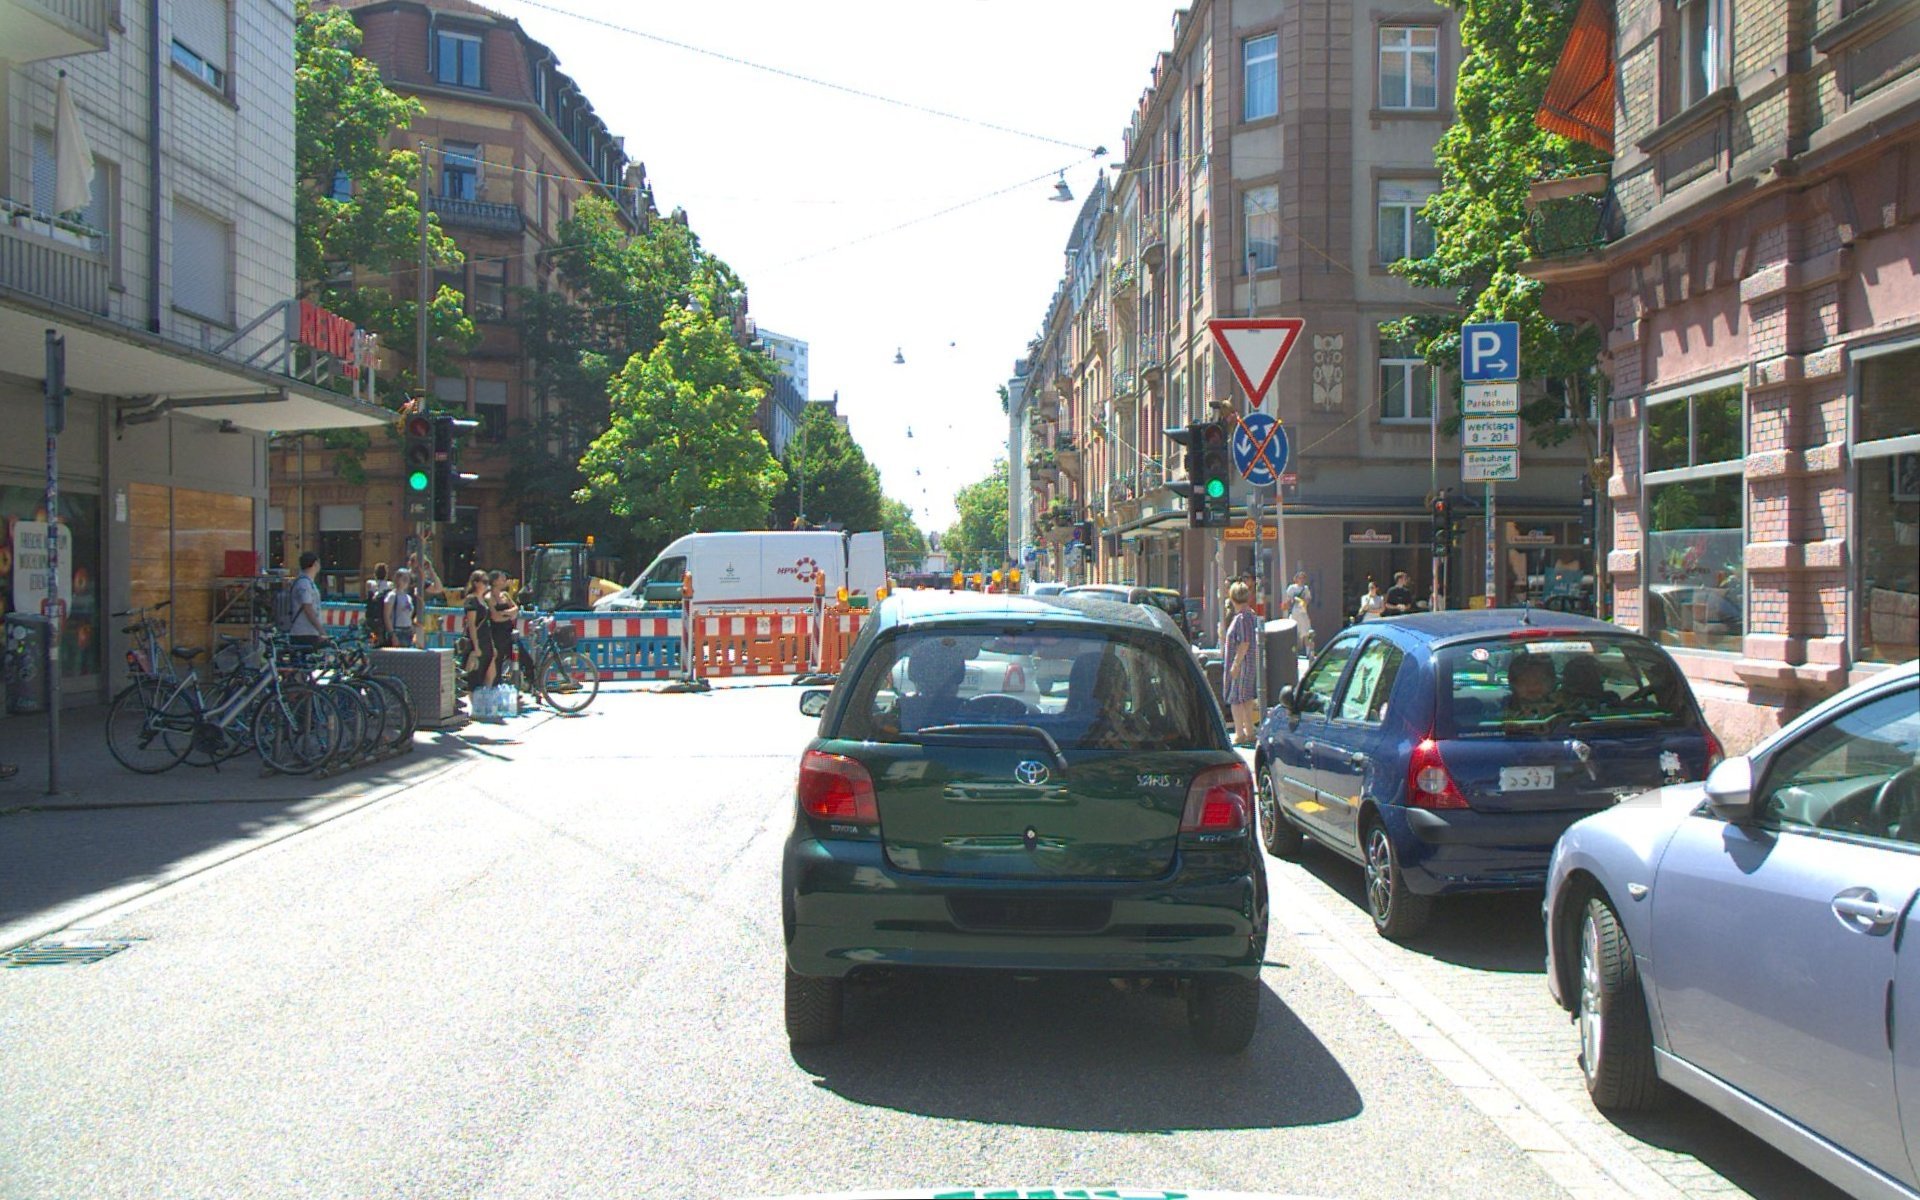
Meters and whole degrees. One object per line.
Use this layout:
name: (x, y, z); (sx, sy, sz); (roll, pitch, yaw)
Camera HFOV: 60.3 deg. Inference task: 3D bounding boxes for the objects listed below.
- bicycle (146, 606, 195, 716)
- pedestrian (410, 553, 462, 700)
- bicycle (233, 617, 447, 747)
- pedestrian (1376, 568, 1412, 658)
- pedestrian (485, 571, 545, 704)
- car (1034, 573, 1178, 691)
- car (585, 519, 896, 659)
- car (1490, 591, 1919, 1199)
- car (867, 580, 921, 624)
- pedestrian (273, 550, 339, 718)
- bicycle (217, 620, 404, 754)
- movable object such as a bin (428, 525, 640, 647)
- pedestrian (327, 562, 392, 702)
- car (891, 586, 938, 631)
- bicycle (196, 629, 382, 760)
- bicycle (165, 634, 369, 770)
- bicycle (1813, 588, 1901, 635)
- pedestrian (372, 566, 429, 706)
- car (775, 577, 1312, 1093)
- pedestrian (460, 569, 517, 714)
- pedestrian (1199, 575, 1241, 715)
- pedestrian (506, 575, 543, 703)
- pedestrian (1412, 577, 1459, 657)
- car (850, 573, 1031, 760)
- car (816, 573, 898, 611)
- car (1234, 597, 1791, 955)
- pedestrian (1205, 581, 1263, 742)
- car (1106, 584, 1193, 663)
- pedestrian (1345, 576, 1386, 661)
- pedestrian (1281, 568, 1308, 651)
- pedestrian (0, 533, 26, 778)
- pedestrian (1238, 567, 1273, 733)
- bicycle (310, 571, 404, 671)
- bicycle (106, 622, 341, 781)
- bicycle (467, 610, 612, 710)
bicycle: (-8.627, 0.646, 18.098); (0.316, 1.105, 1.425); (1, 1, -19)
pedestrian: (-6.685, 0.329, 21.113); (0.499, 1.852, 0.599); (0, 0, -3)
bicycle: (-5.838, 0.765, 15.652); (1.763, 1.142, 0.577); (2, 0, -7)
pedestrian: (8.898, 0.264, 33.903); (0.564, 1.799, 0.471); (-2, 4, -9)
pedestrian: (-5.458, 0.449, 20.309); (0.486, 1.593, 0.459); (2, 1, 25)
car: (2.222, 0.423, 24.553); (1.490, 1.620, 3.266); (0, 1, 17)
car: (-4.765, -0.245, 36.735); (6.486, 2.799, 2.380); (2, 0, 0)
car: (2.768, 0.721, 3.481); (1.691, 1.457, 4.483); (-1, 0, -3)
car: (-2.225, 0.057, 56.771); (1.719, 1.469, 3.999); (-1, 0, -1)
pedestrian: (-7.133, 0.359, 18.057); (0.499, 1.801, 0.599); (0, 0, -3)
bicycle: (-5.853, 0.783, 14.931); (1.489, 1.136, 0.335); (2, 0, -5)
movable object such as a bin: (-10.071, -0.327, 39.388); (4.450, 2.705, 1.955); (2, 0, 0)
pedestrian: (-7.973, 0.411, 21.979); (0.519, 1.828, 0.938); (0, 0, -1)
car: (-1.809, 0.315, 66.535); (1.719, 1.674, 4.377); (-3, 0, -1)
bicycle: (-5.808, 0.816, 14.353); (1.419, 1.054, 0.335); (2, 0, -5)
bicycle: (-5.735, 0.838, 13.726); (1.465, 1.048, 0.397); (2, 0, -5)
bicycle: (19.759, 0.250, 36.432); (1.690, 1.014, 0.504); (0, 2, -5)
pedestrian: (-6.768, 0.429, 20.030); (0.499, 1.661, 0.599); (0, 0, -3)
car: (0.298, 0.694, 6.574); (1.580, 1.511, 3.241); (1, 0, 2)
pedestrian: (-5.464, 0.472, 19.182); (0.530, 1.661, 0.511); (0, 0, -3)
pedestrian: (2.985, 0.503, 19.006); (0.450, 1.587, 0.479); (0, 0, 5)
pedestrian: (-5.644, 0.500, 21.445); (0.382, 1.646, 0.475); (0, 0, -3)
pedestrian: (9.916, 0.349, 34.502); (0.785, 1.652, 0.643); (0, 0, -2)
car: (-0.194, 0.532, 15.305); (1.491, 1.547, 3.263); (0, 1, -1)
car: (-6.115, -0.459, 98.474); (4.506, 2.226, 1.982); (0, 0, -28)
car: (2.637, 0.734, 8.799); (1.595, 1.457, 3.658); (-1, 0, -3)
pedestrian: (2.731, 0.606, 16.519); (0.482, 1.570, 0.437); (-2, 0, 5)
car: (3.702, 0.425, 32.643); (1.593, 1.457, 3.663); (-1, 0, 6)
pedestrian: (8.251, 0.380, 33.684); (0.688, 1.673, 0.422); (-2, 4, -9)
pedestrian: (7.203, 0.210, 35.621); (0.467, 1.763, 0.872); (0, -1, 18)
pedestrian: (-7.187, 0.399, 11.843); (0.617, 1.757, 0.658); (0, 0, 0)
pedestrian: (3.070, 0.510, 17.187); (0.325, 1.705, 0.402); (0, 0, 5)
bicycle: (-7.997, 0.256, 22.013); (0.524, 1.269, 2.012); (0, 0, -1)
bicycle: (-5.759, 0.787, 12.986); (1.553, 1.159, 0.526); (2, 0, -5)
bicycle: (-5.214, 0.726, 20.482); (1.767, 1.138, 0.468); (2, 1, 21)
